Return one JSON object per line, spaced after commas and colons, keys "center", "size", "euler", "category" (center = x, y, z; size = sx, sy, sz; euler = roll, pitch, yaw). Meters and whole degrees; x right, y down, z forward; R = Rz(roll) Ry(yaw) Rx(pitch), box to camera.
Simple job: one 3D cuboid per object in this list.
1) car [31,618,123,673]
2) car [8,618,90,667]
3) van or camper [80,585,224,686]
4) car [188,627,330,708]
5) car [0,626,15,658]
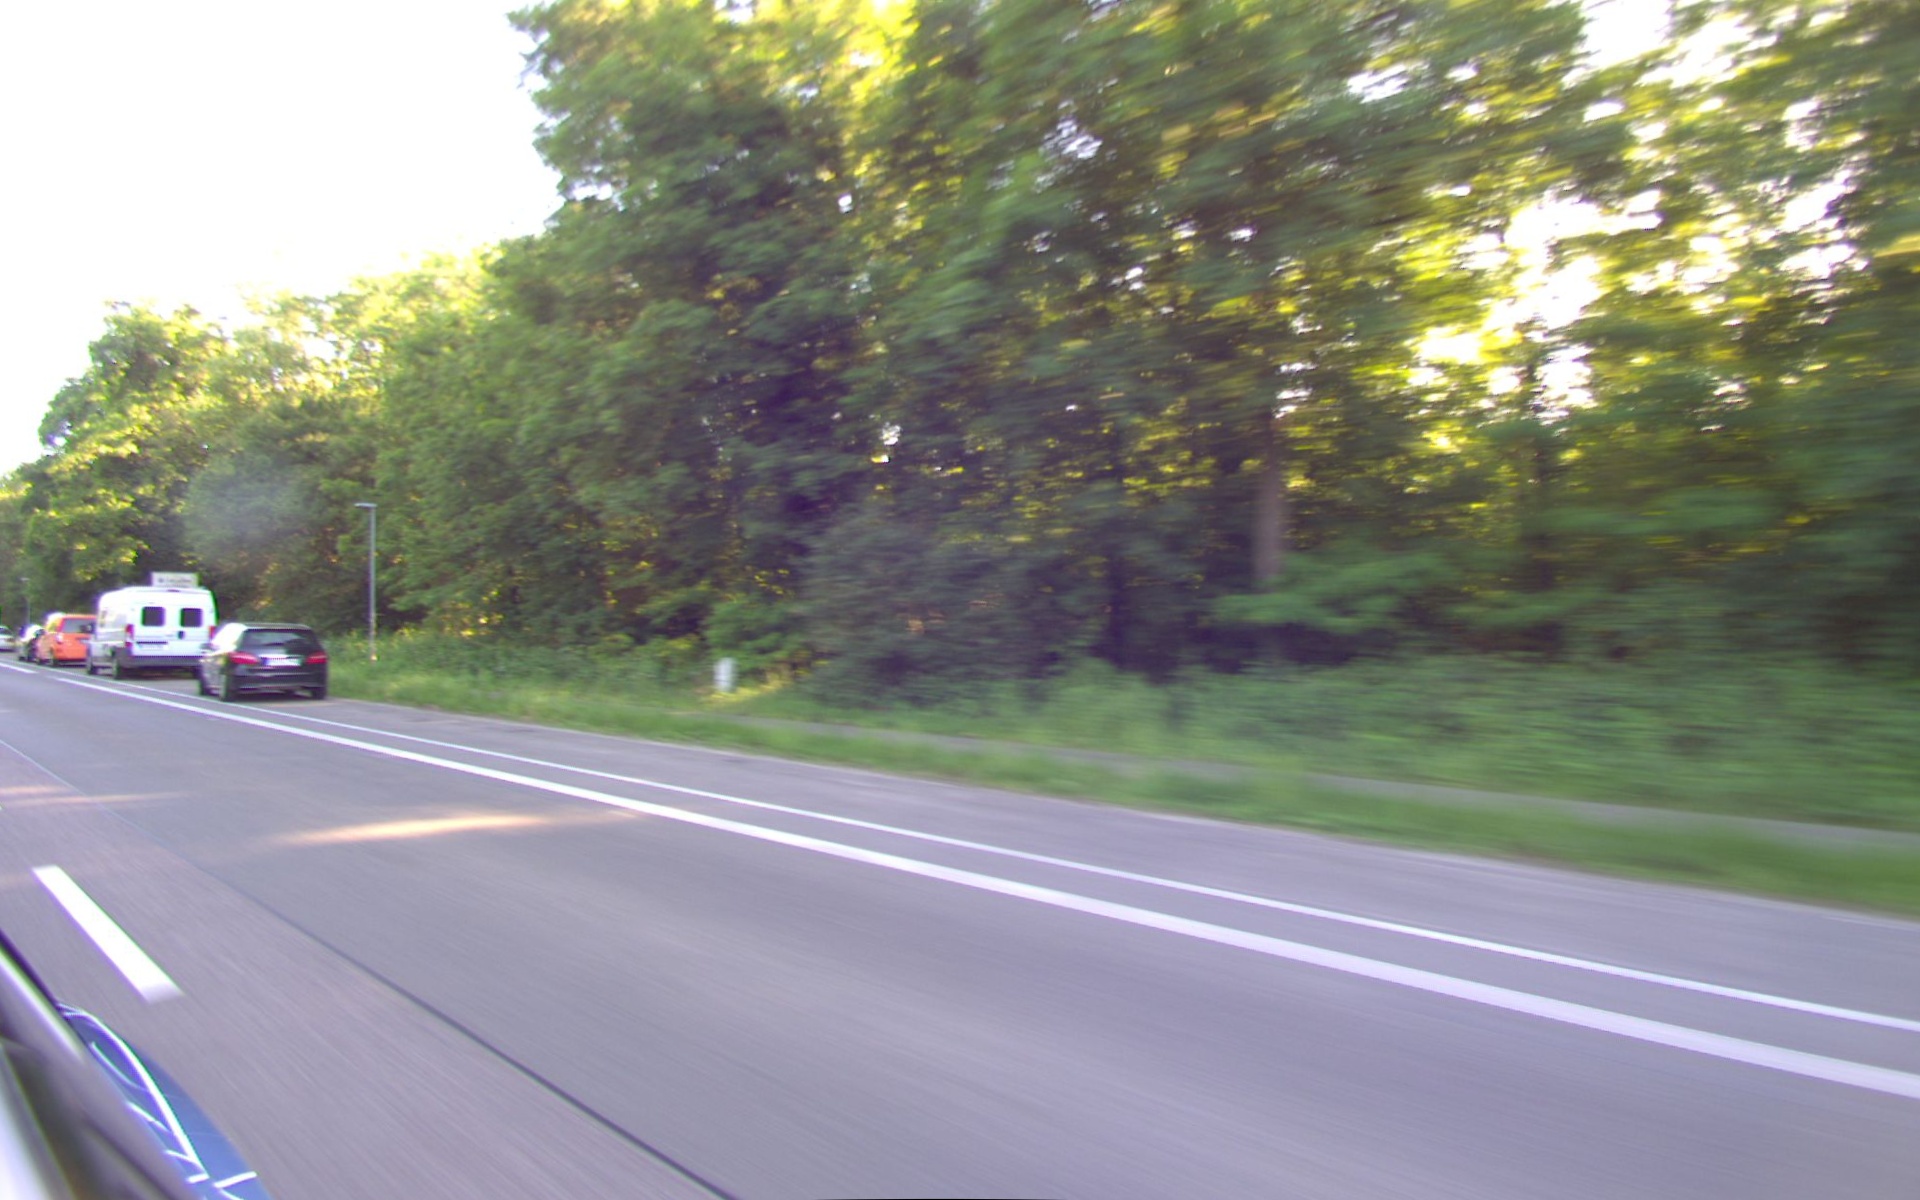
{"center": [-31.646, 1.594, 36.242], "size": [4.142, 1.821, 1.973], "euler": [-2, -1, 41], "category": "car"}
{"center": [-36.357, 1.657, 40.369], "size": [4.142, 1.821, 1.973], "euler": [-2, -1, 41], "category": "car"}
{"center": [-23.432, 1.011, 29.244], "size": [5.981, 2.634, 2.224], "euler": [-2, -2, 41], "category": "van or camper"}
{"center": [-14.536, 1.312, 20.908], "size": [1.763, 1.505, 4.003], "euler": [2, -2, -44], "category": "car"}
{"center": [-51.975, 2.227, 53.952], "size": [4.142, 1.642, 1.973], "euler": [-2, -1, 41], "category": "car"}
